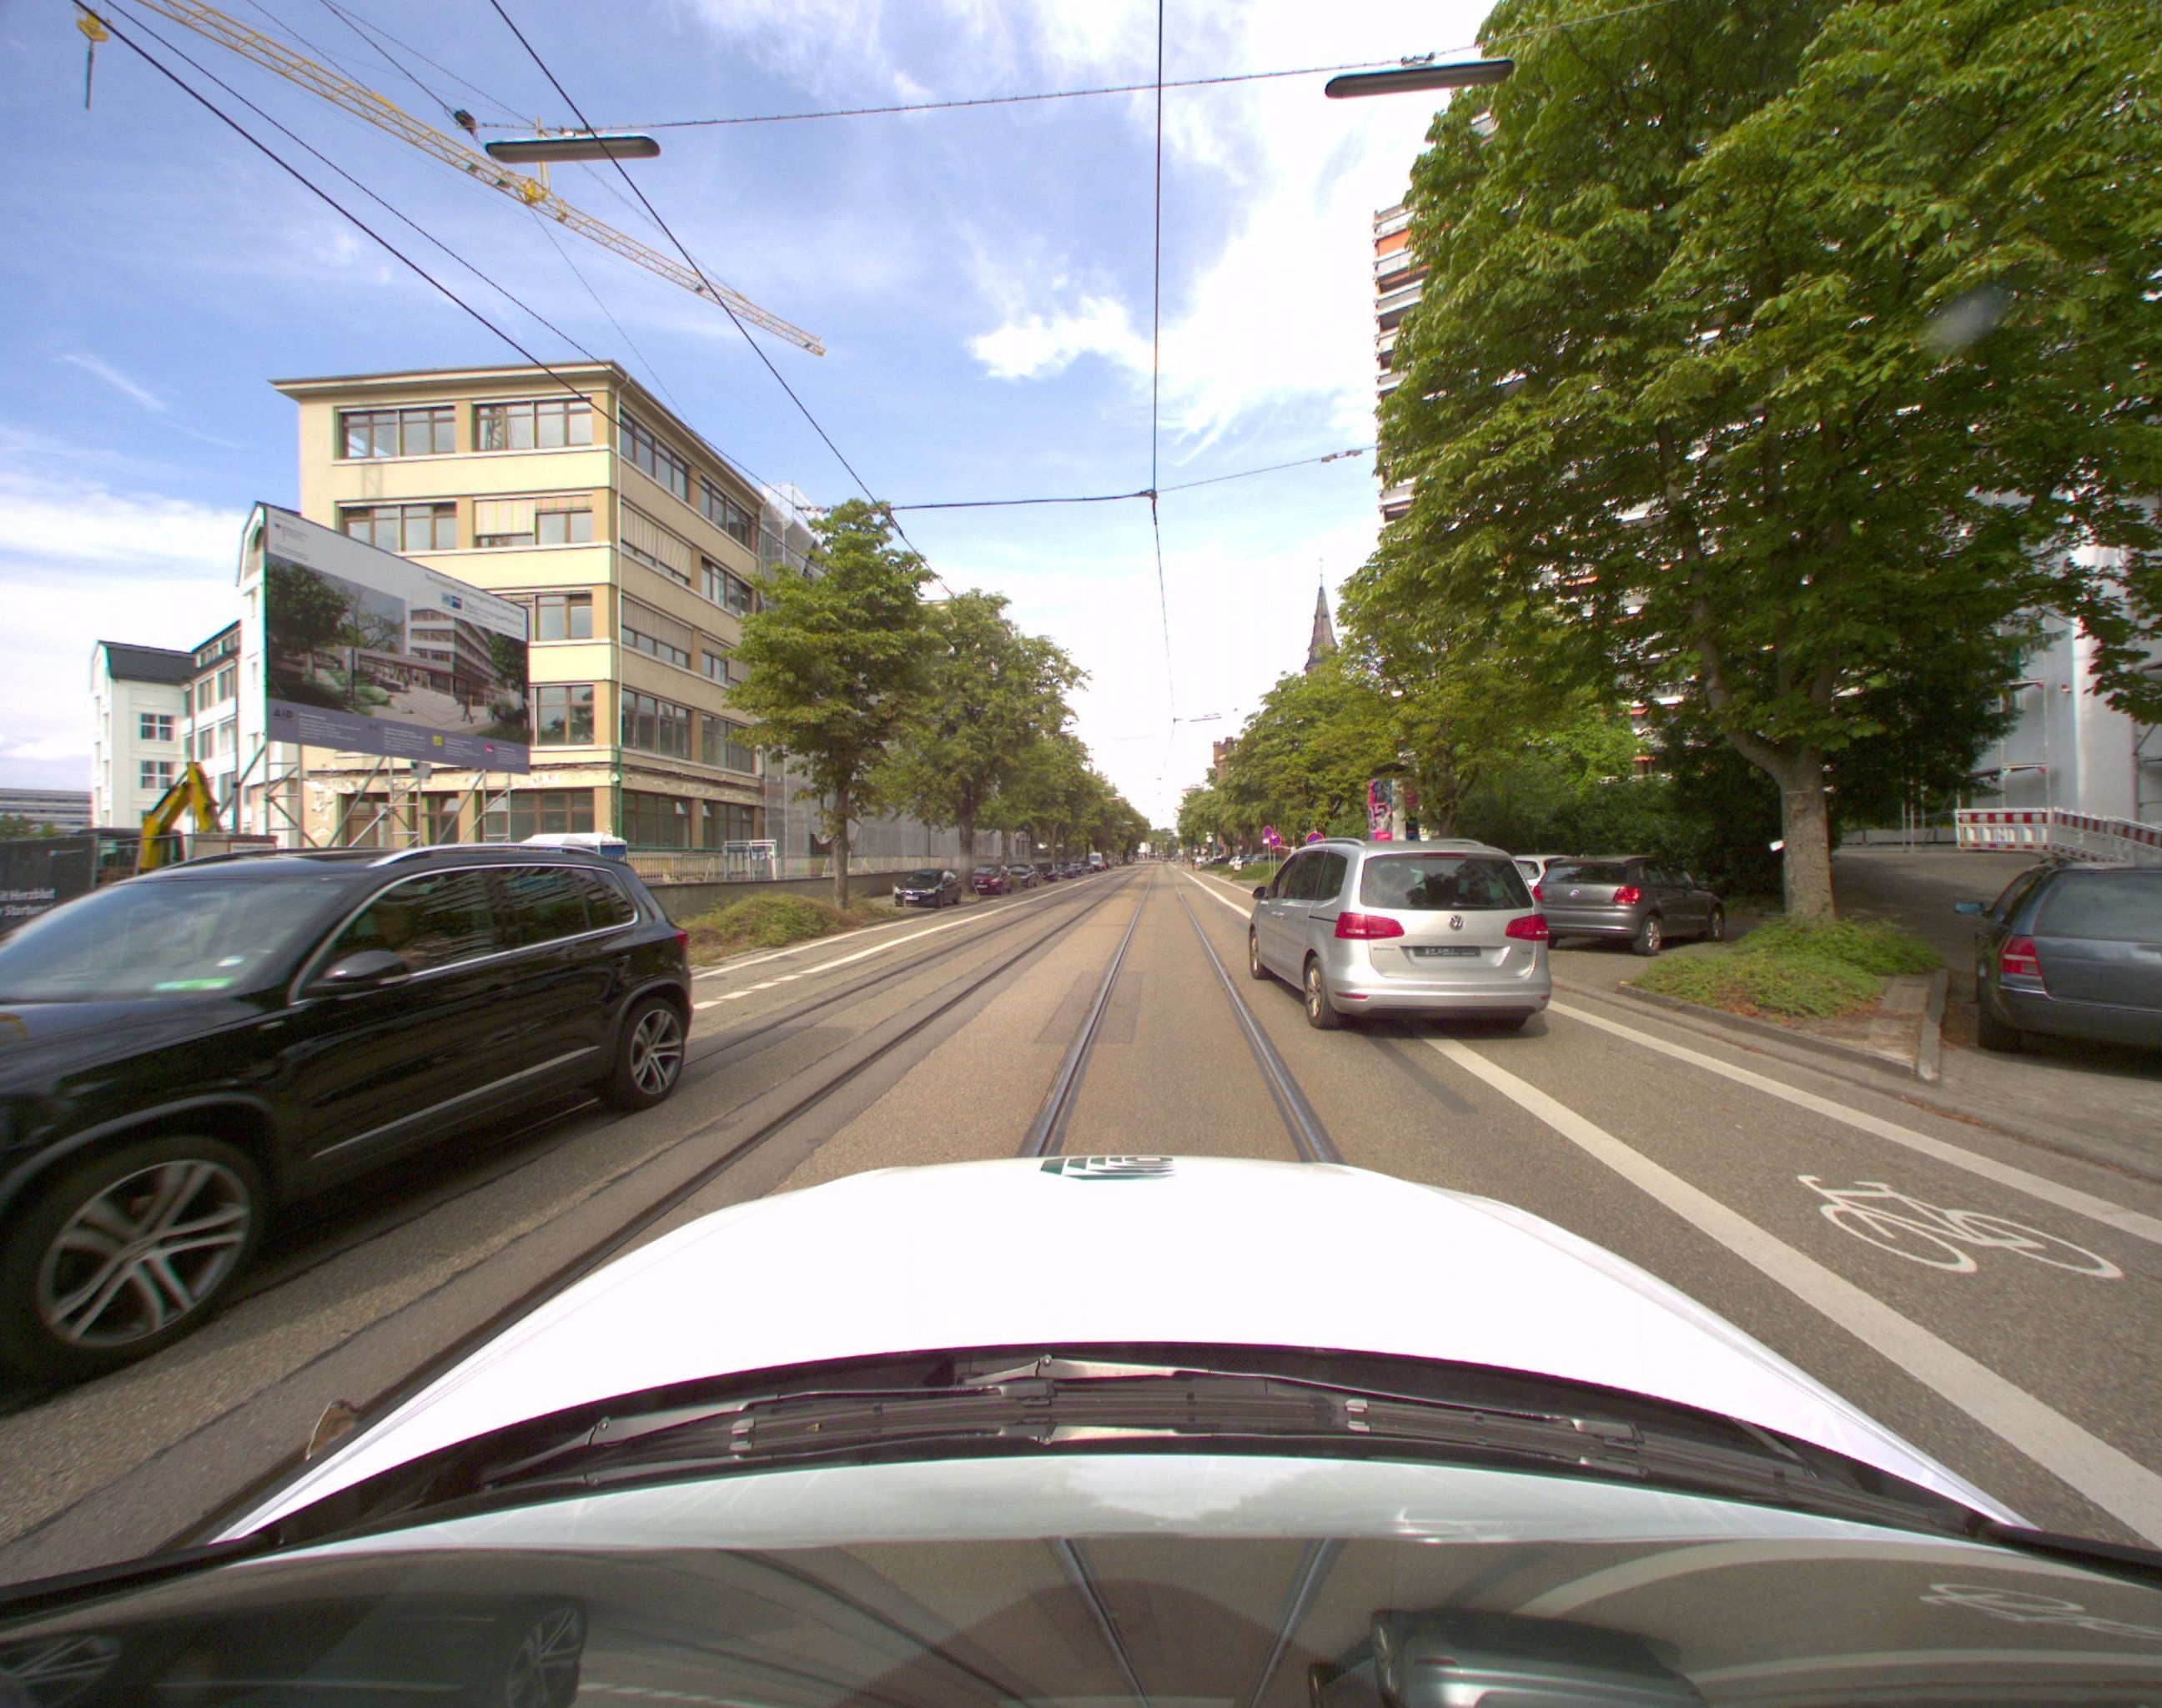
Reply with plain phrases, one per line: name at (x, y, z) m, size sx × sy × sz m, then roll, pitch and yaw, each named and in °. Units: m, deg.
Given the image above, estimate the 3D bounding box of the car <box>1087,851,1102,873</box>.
car at (1.771, 1.038, 104.058) m, size 1.713 × 2.704 × 5.474 m, roll 0°, pitch 0°, yaw 3°

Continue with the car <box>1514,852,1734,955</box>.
car at (8.724, 0.698, 13.012) m, size 3.661 × 1.420 × 1.664 m, roll 0°, pitch -1°, yaw -35°

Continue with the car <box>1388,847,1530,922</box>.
car at (8.986, 0.655, 19.246) m, size 3.665 × 1.602 × 1.662 m, roll 0°, pitch -1°, yaw -41°

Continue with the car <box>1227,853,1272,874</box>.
car at (13.451, 0.779, 64.943) m, size 3.665 × 1.602 × 1.662 m, roll 0°, pitch -1°, yaw -41°

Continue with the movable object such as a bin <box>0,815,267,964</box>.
movable object such as a bin at (-17.629, 0.618, 15.007) m, size 3.028 × 2.443 × 2.508 m, roll -1°, pitch -1°, yaw 15°

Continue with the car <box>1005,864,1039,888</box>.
car at (-3.587, 1.313, 49.847) m, size 1.584 × 1.402 × 3.966 m, roll 0°, pitch 0°, yaw 3°

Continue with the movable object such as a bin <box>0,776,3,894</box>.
movable object such as a bin at (-59.872, -1.147, 40.820) m, size 3.873 × 6.670 × 10.868 m, roll 0°, pitch -1°, yaw -35°

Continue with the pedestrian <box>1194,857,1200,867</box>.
pedestrian at (20.081, 1.354, 140.987) m, size 0.741 × 1.790 × 0.734 m, roll -1°, pitch -1°, yaw 20°

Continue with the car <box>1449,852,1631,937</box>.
car at (9.065, 0.720, 16.003) m, size 3.661 × 1.475 × 1.664 m, roll 0°, pitch -1°, yaw -35°

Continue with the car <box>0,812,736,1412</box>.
car at (-3.675, 0.733, 4.037) m, size 1.724 × 1.628 × 4.383 m, roll -2°, pitch 0°, yaw 4°

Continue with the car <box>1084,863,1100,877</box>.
car at (1.197, 1.770, 90.671) m, size 1.584 × 1.402 × 3.966 m, roll 0°, pitch 0°, yaw 3°

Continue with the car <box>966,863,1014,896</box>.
car at (-4.489, 1.238, 40.670) m, size 1.628 × 1.496 × 3.967 m, roll 0°, pitch 0°, yaw 4°

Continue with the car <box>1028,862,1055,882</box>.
car at (-2.879, 1.336, 60.140) m, size 1.584 × 1.402 × 3.966 m, roll 0°, pitch 0°, yaw 3°

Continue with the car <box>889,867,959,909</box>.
car at (-5.719, 1.201, 30.058) m, size 1.584 × 1.402 × 3.966 m, roll 0°, pitch 0°, yaw 3°

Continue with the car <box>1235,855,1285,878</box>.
car at (12.807, 0.894, 58.163) m, size 3.665 × 1.602 × 1.662 m, roll 0°, pitch -1°, yaw -41°

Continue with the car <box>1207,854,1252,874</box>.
car at (12.249, 0.820, 67.187) m, size 3.665 × 1.602 × 1.662 m, roll 0°, pitch -1°, yaw -41°

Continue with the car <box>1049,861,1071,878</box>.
car at (-1.780, 1.321, 70.400) m, size 1.584 × 1.402 × 3.966 m, roll 0°, pitch 0°, yaw 3°

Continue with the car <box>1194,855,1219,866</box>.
car at (21.659, 1.128, 141.009) m, size 3.974 × 1.693 × 1.999 m, roll -1°, pitch 0°, yaw -1°

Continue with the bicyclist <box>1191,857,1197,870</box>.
bicyclist at (13.086, 1.100, 94.392) m, size 0.590 × 1.459 × 0.876 m, roll -1°, pitch 0°, yaw 3°

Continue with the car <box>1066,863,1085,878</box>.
car at (-0.490, 1.643, 80.562) m, size 1.584 × 1.402 × 3.966 m, roll 0°, pitch 0°, yaw 3°

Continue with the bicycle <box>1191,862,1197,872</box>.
bicycle at (13.087, 1.493, 94.387) m, size 0.590 × 1.043 × 1.979 m, roll -1°, pitch 0°, yaw 3°

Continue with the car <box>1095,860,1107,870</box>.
car at (2.827, 1.598, 116.496) m, size 1.584 × 1.402 × 3.966 m, roll 0°, pitch 0°, yaw 3°

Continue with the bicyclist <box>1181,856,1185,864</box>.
bicyclist at (17.669, 1.050, 140.737) m, size 0.656 × 1.496 × 0.931 m, roll -1°, pitch 0°, yaw 6°

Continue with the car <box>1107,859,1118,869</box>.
car at (5.045, 1.581, 129.335) m, size 1.583 × 1.402 × 3.555 m, roll 0°, pitch 0°, yaw 5°

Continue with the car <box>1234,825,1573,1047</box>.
car at (2.924, 0.642, 8.609) m, size 1.806 × 1.701 × 4.617 m, roll -1°, pitch 0°, yaw 1°

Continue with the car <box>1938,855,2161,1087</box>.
car at (8.201, 0.728, 6.446) m, size 4.192 × 1.415 × 1.794 m, roll 0°, pitch -1°, yaw -42°
